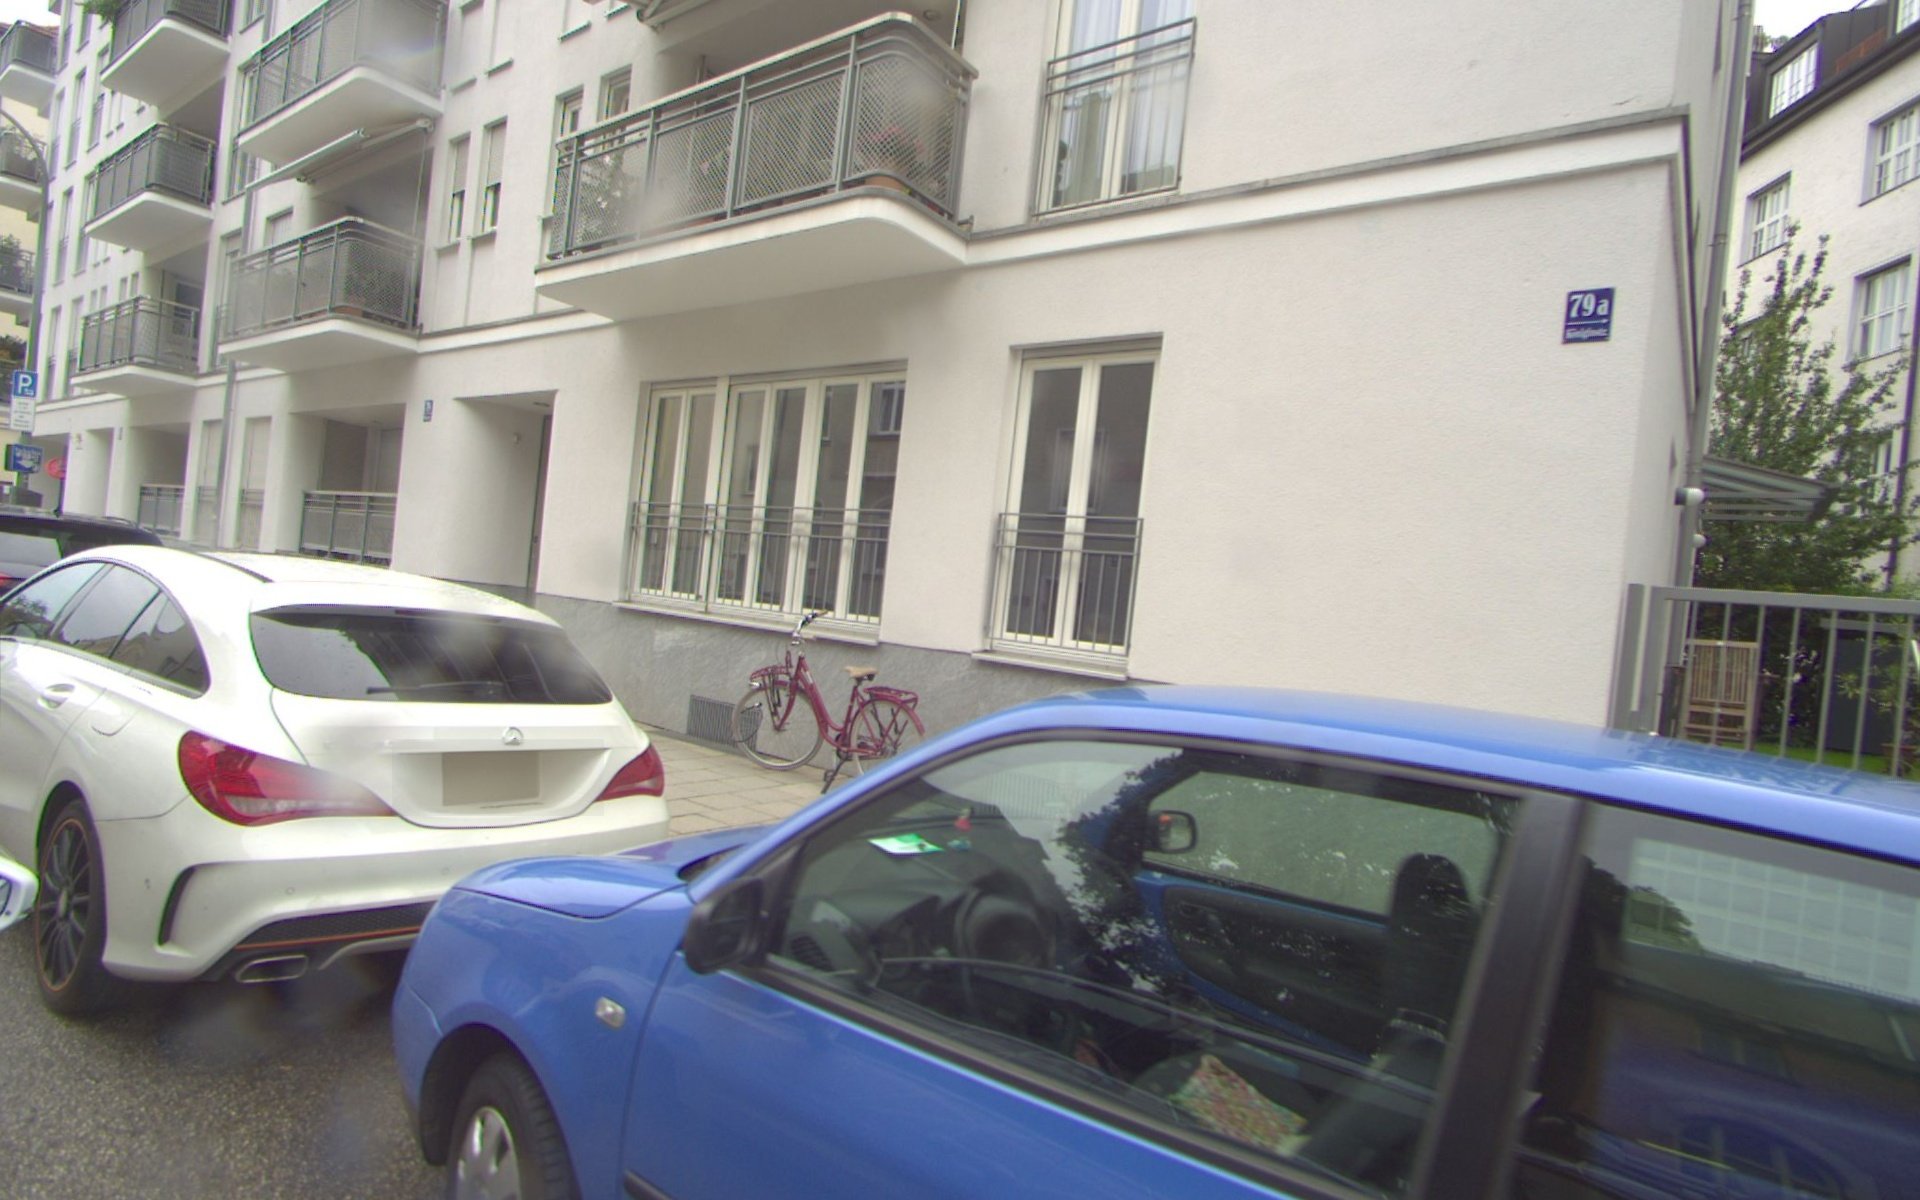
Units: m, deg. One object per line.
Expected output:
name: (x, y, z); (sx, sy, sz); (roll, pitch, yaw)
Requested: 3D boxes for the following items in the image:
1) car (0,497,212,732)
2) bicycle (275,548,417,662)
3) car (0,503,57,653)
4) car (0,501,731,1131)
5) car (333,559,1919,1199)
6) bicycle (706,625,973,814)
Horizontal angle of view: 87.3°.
car: (-7.813, -0.034, 8.126); (3.922, 1.547, 1.605); (6, -3, 36)
bicycle: (-7.559, 0.038, 12.345); (2.094, 1.175, 0.627); (6, 1, 35)
car: (-12.221, -0.492, 11.538); (4.550, 1.547, 1.736); (6, -3, 36)
car: (-3.086, 0.463, 4.301); (4.142, 1.456, 1.660); (6, -3, 36)
car: (0.616, 0.850, 1.806); (3.498, 1.428, 1.621); (6, -3, 35)
bicycle: (-0.877, 0.776, 7.019); (1.807, 1.040, 0.677); (4, -1, 36)
